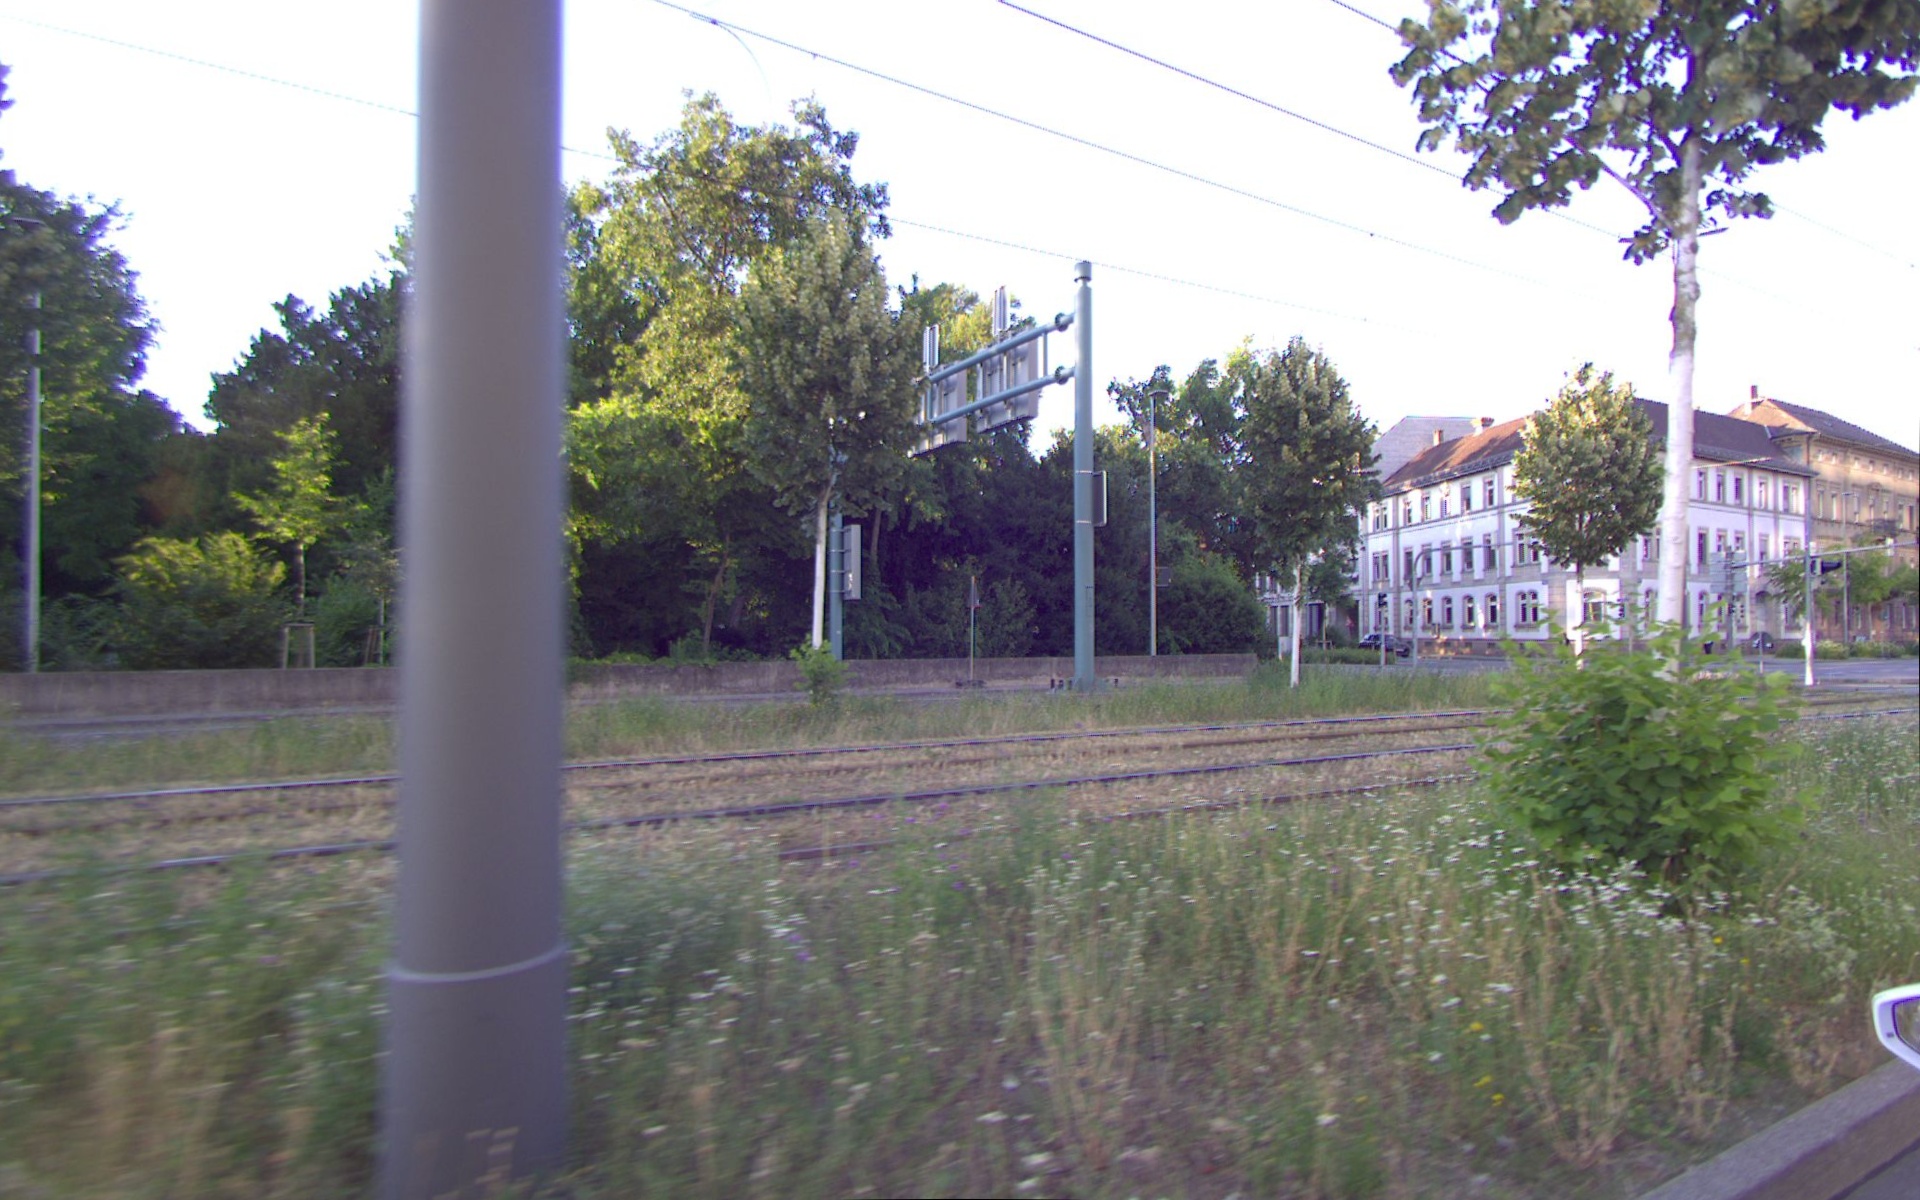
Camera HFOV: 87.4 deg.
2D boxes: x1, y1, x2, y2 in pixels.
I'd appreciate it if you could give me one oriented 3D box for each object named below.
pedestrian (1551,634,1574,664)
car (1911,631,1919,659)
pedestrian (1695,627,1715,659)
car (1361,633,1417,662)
[{"bbox_3d":[30.076,2.432,50.151,0.924,1.478,0.601,1,0,-29],"label":"pedestrian"},{"bbox_3d":[57.224,2.598,58.143,4.074,1.601,1.985,1,-3,-29],"label":"car"},{"bbox_3d":[42.685,2.458,57.566,0.804,1.738,0.698,0,1,-34],"label":"pedestrian"},{"bbox_3d":[26.475,2.908,62.157,1.755,1.576,4.000,1,0,0],"label":"car"}]
